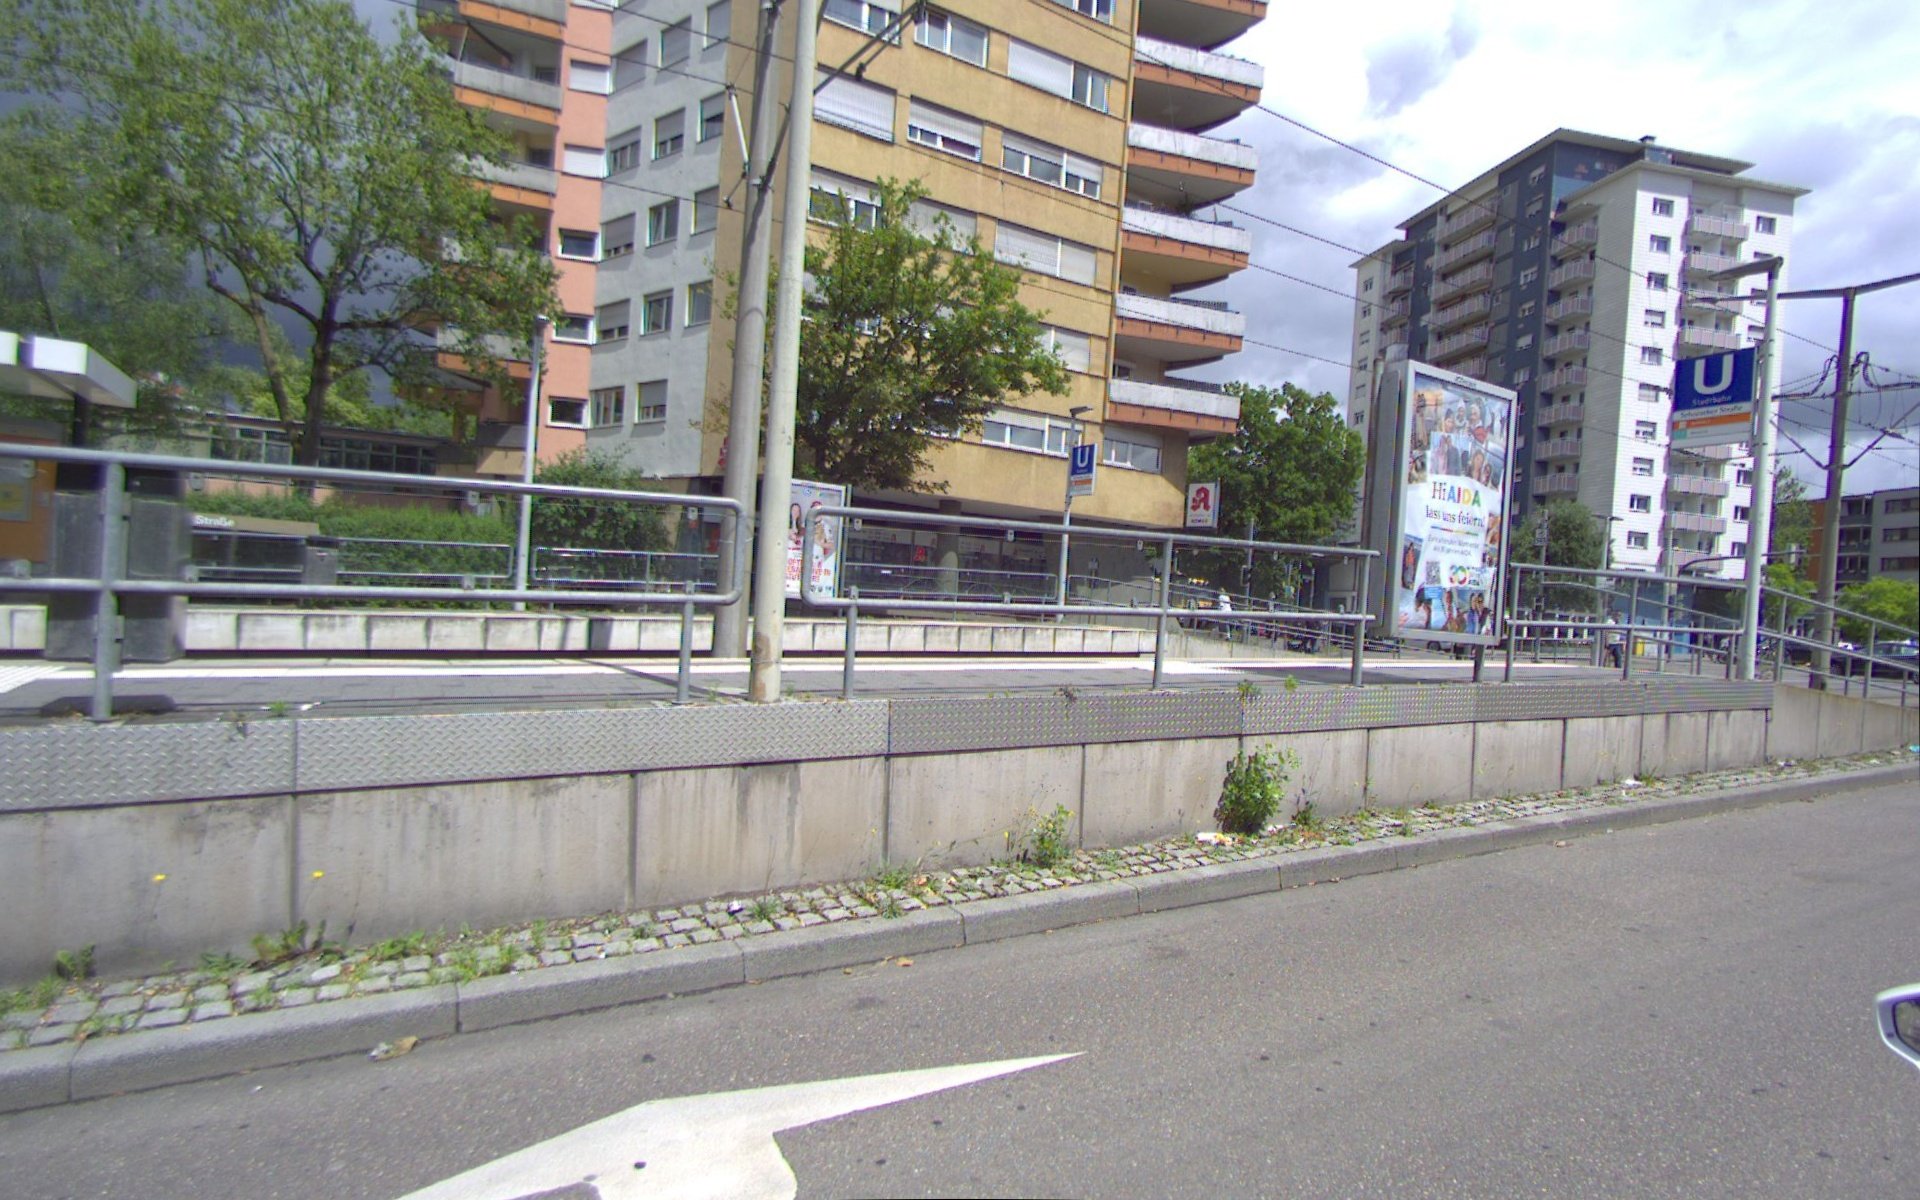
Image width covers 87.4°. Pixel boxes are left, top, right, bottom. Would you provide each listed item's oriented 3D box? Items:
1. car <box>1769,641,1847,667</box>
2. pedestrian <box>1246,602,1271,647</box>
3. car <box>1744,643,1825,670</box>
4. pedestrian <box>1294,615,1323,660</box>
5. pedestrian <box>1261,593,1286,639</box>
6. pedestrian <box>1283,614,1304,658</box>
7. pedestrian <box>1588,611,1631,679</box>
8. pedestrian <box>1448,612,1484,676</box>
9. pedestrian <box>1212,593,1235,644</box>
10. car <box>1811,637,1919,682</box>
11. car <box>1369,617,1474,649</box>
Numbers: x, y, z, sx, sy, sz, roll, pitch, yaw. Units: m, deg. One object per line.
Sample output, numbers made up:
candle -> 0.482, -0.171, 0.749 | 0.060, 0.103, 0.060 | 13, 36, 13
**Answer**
car -> 54.262, 3.439, 64.323 | 1.602, 1.482, 3.576 | 2, -1, -37
pedestrian -> 11.090, 0.907, 37.282 | 0.759, 1.604, 0.610 | 2, 0, 8
car -> 50.691, 3.456, 61.819 | 1.602, 1.482, 3.576 | 2, -1, -37
pedestrian -> 10.855, 1.147, 31.292 | 0.677, 1.360, 0.859 | 2, 0, 30
pedestrian -> 11.222, 0.566, 35.908 | 0.613, 1.599, 0.858 | 2, 0, 33
pedestrian -> 10.728, 1.146, 32.332 | 0.543, 1.360, 0.669 | 2, 0, 12
pedestrian -> 16.935, 1.167, 26.209 | 0.845, 1.719, 0.688 | 2, 0, 30
pedestrian -> 13.461, 1.169, 26.735 | 0.693, 1.654, 0.634 | 0, -1, 43
pedestrian -> 9.185, 0.636, 35.064 | 0.668, 1.729, 0.827 | 2, 0, 10
car -> 34.186, 2.207, 37.369 | 1.602, 1.482, 3.576 | 2, -1, -37
car -> 23.950, 1.709, 52.305 | 1.980, 1.500, 4.608 | 2, -1, -35
